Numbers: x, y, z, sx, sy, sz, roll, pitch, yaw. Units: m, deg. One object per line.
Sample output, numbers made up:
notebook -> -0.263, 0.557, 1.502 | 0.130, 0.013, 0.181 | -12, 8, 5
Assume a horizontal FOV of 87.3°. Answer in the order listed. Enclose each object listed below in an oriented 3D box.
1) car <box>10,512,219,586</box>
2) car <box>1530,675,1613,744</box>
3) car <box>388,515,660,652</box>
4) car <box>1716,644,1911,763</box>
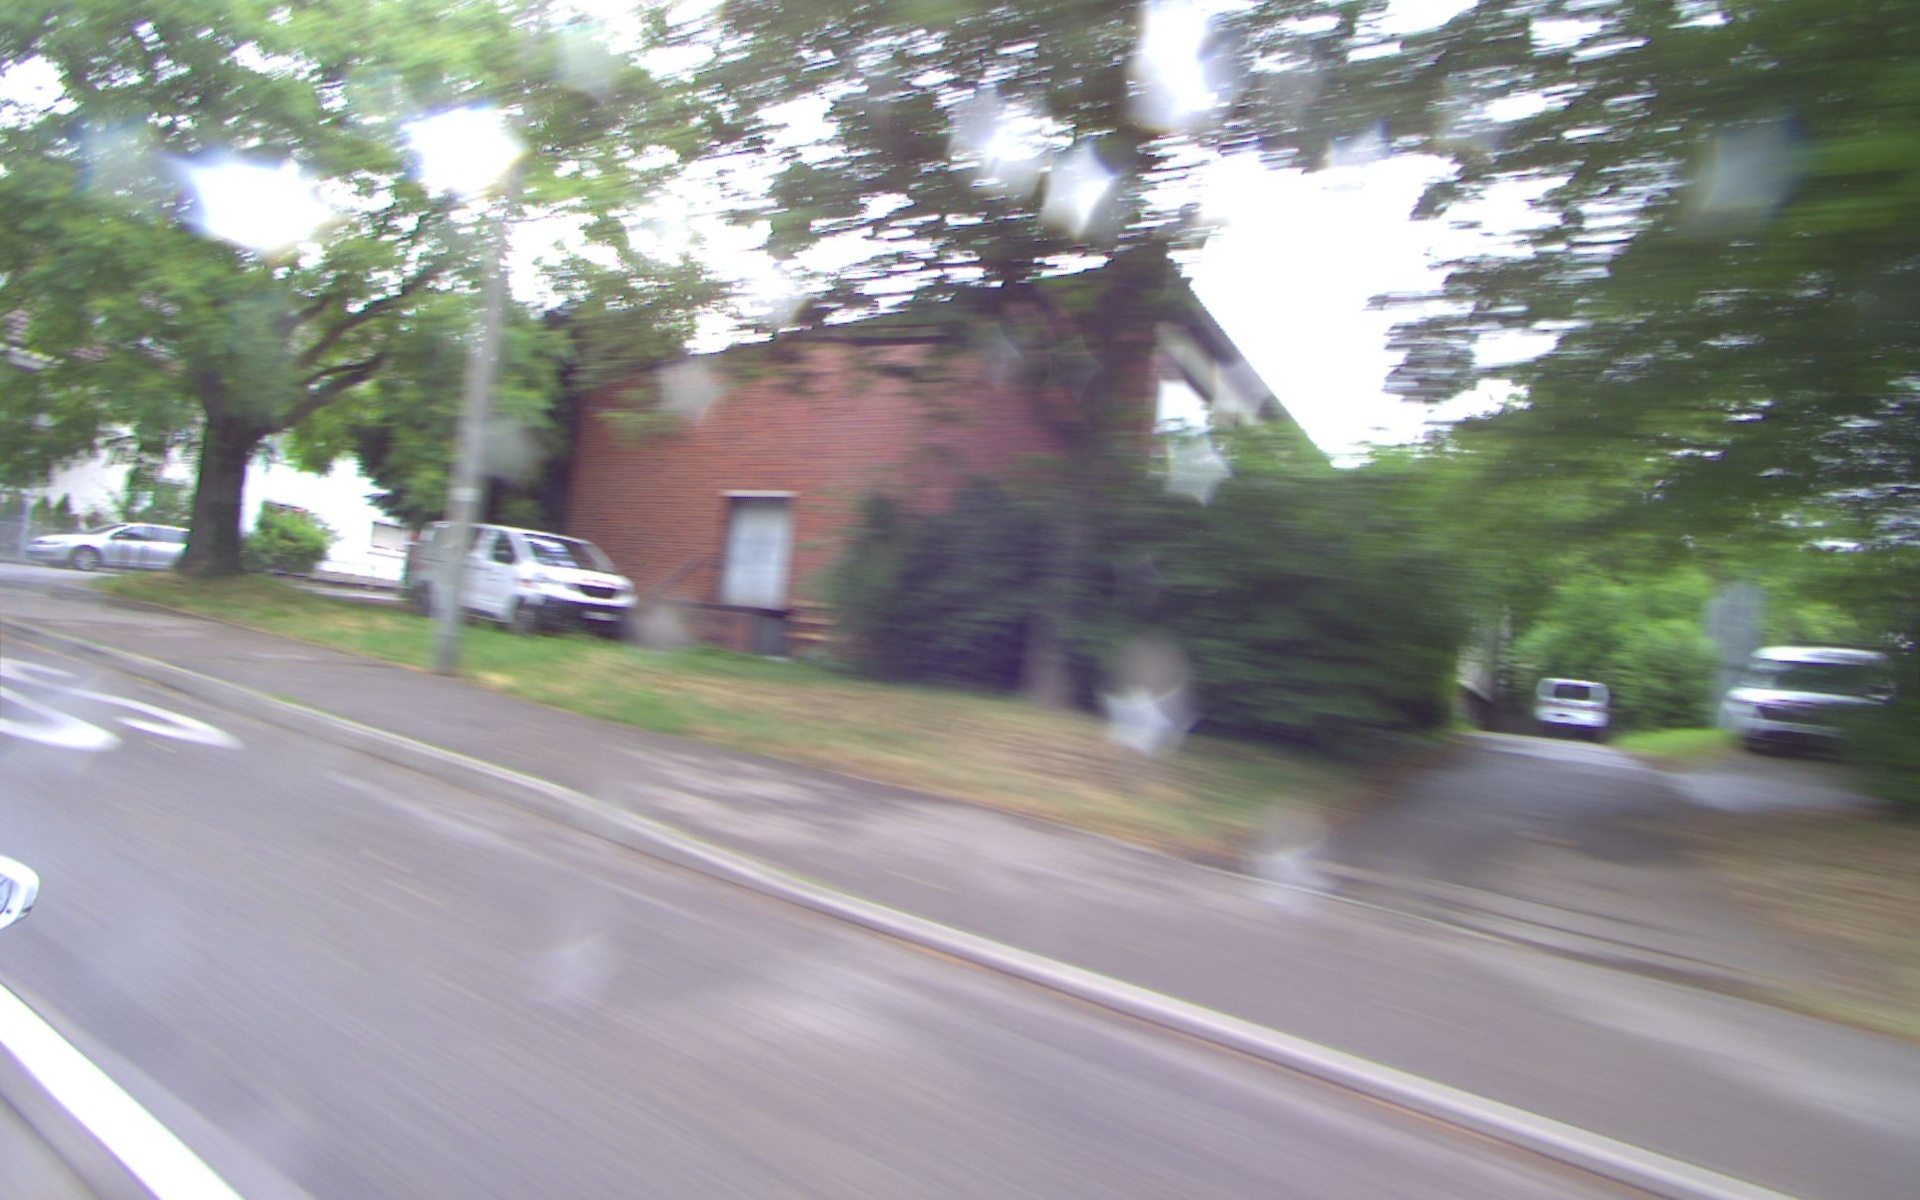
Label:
car -> -23.185, -1.368, 27.760 | 1.675, 1.439, 3.997 | 4, -3, 29
car -> 19.582, 3.536, 32.260 | 1.967, 1.799, 5.021 | 6, -3, 32
car -> -8.053, -0.345, 18.409 | 5.066, 1.823, 1.998 | 6, -5, 35
car -> 15.584, 1.793, 18.301 | 4.286, 1.803, 1.784 | 3, 1, -38
